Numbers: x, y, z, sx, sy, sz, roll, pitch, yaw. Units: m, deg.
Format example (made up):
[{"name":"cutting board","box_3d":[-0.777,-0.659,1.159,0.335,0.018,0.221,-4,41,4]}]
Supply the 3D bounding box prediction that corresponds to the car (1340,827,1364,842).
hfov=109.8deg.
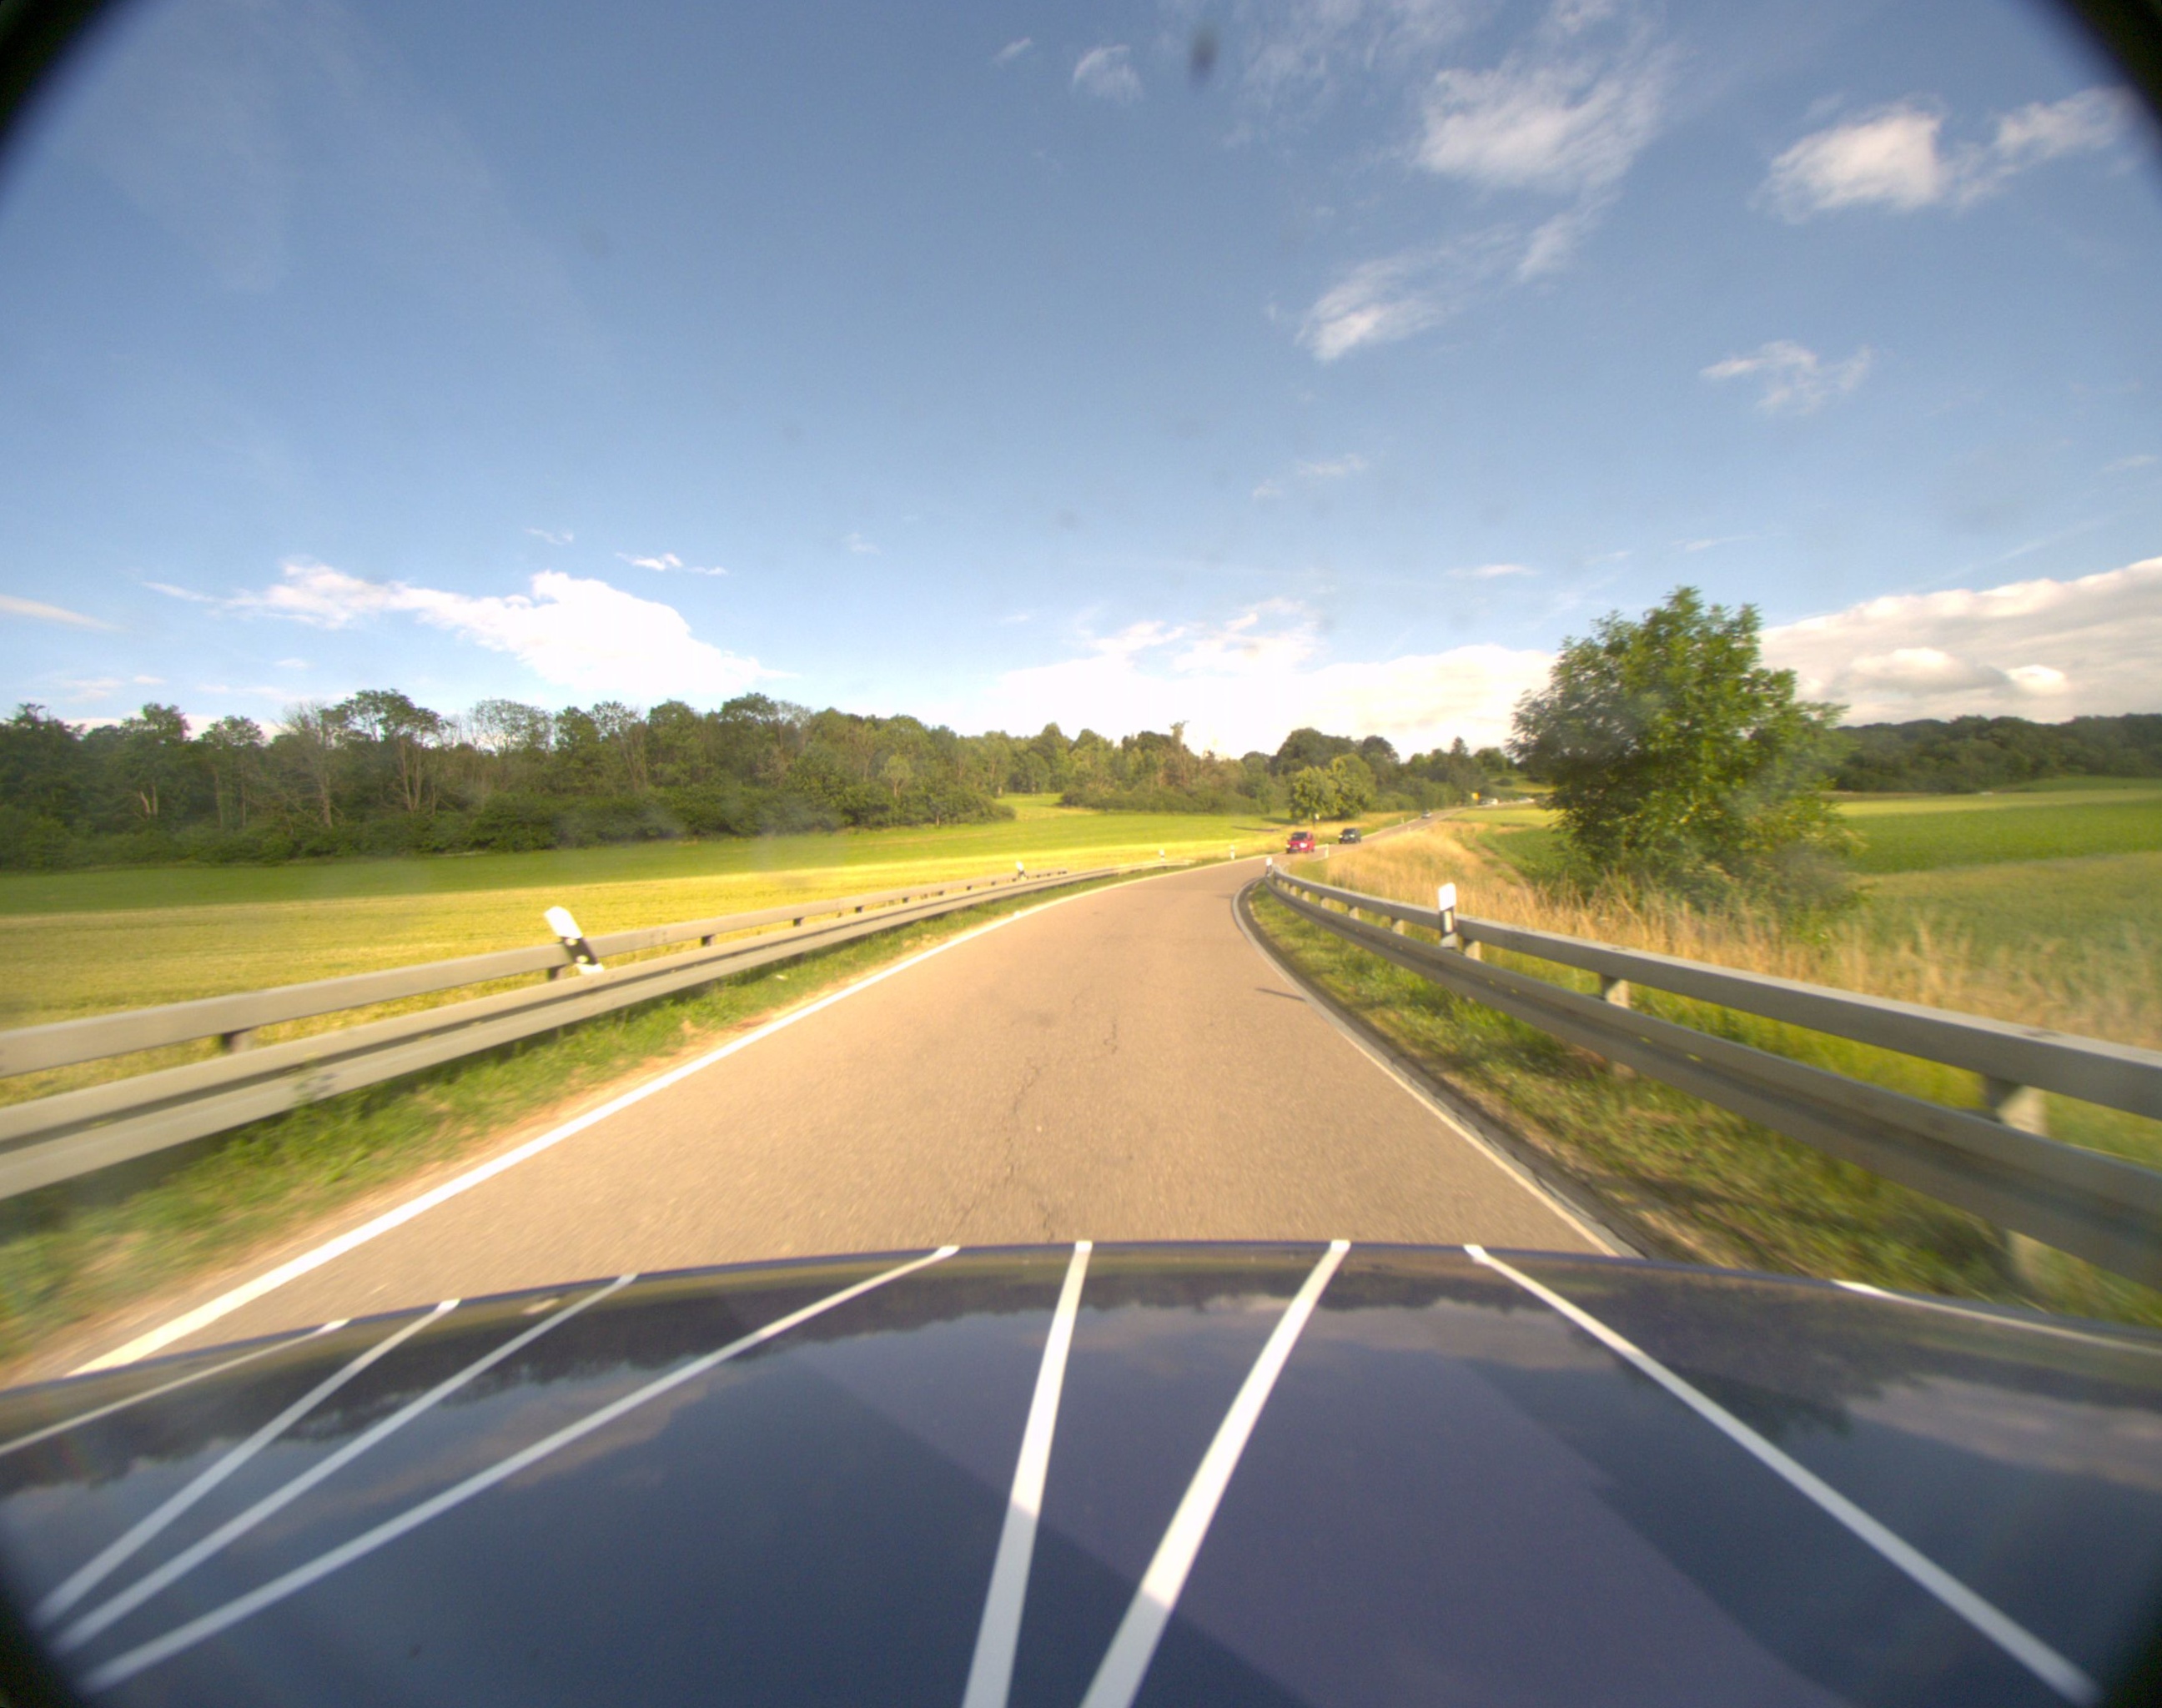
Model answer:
[{"name":"car","box_3d":[29.984,-2.164,84.070,1.817,1.602,4.006,0,3,29]}]

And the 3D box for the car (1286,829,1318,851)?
[{"name":"car","box_3d":[18.572,-1.196,63.780,1.818,1.646,4.005,-1,3,28]}]
